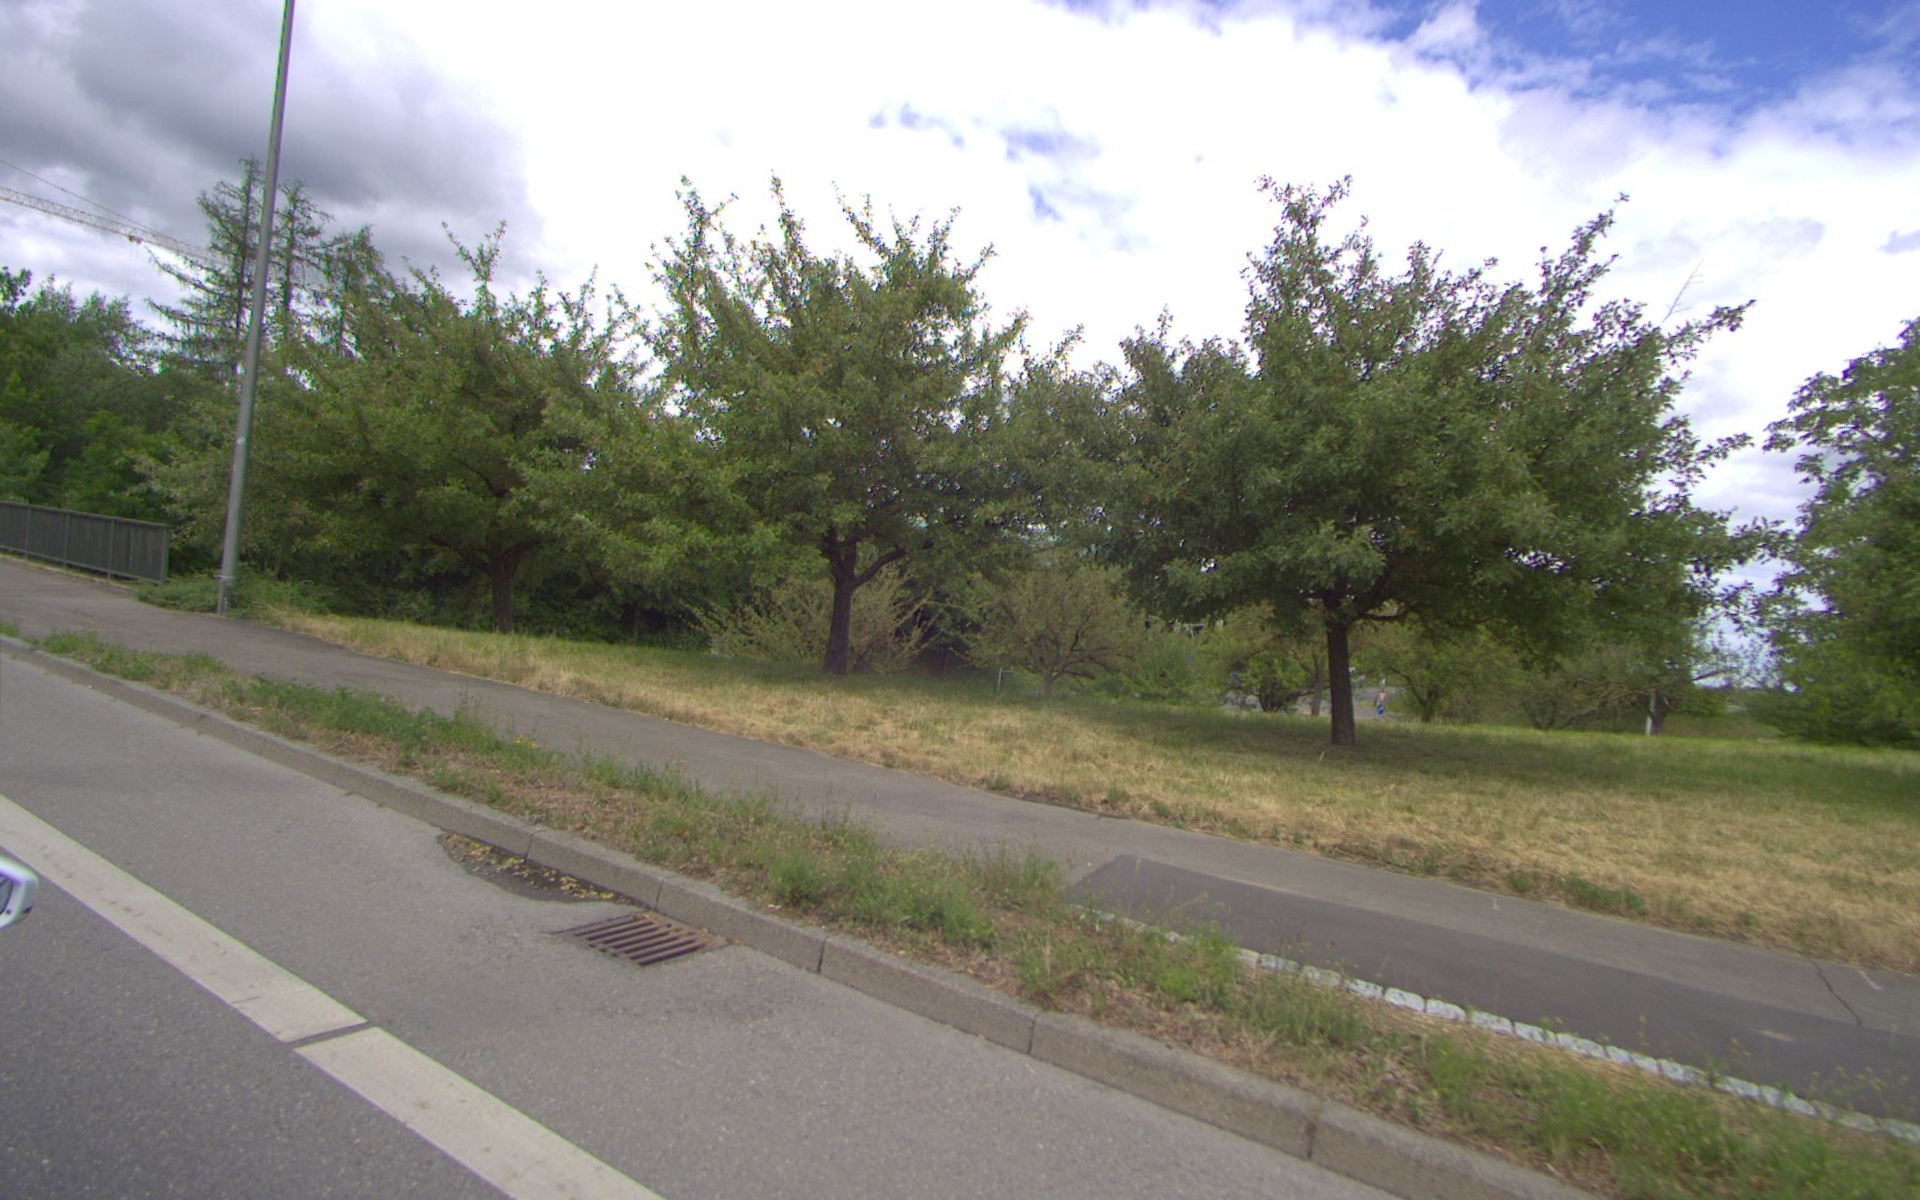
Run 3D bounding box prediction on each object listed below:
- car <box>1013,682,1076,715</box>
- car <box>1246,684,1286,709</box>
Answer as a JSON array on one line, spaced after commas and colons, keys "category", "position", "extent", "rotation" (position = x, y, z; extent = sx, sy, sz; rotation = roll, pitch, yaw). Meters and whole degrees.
[{"category": "car", "position": [4.937, 5.693, 58.460], "extent": [1.656, 1.561, 3.838], "rotation": [8, 3, 38]}, {"category": "car", "position": [24.496, 7.689, 80.399], "extent": [1.656, 1.561, 3.838], "rotation": [8, 3, 38]}]
